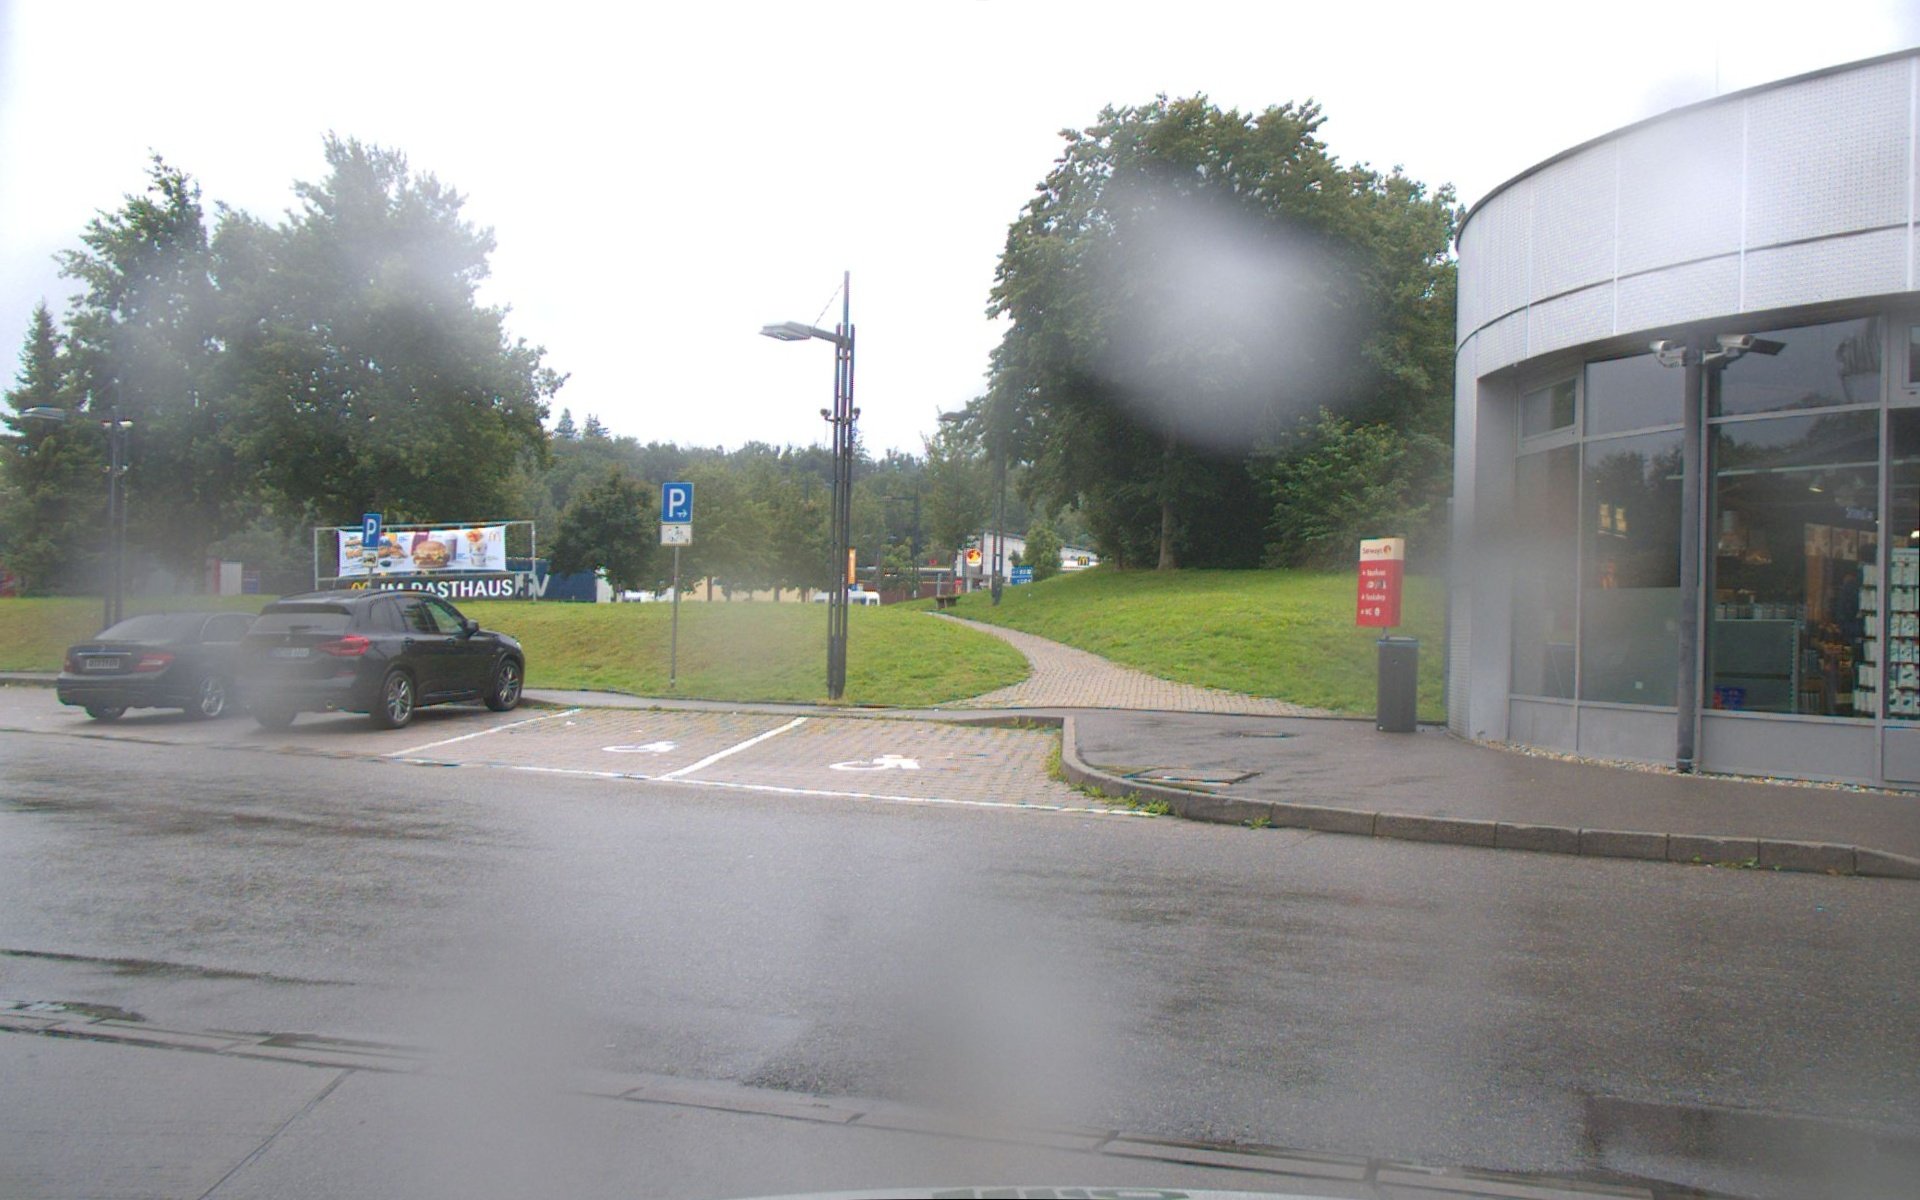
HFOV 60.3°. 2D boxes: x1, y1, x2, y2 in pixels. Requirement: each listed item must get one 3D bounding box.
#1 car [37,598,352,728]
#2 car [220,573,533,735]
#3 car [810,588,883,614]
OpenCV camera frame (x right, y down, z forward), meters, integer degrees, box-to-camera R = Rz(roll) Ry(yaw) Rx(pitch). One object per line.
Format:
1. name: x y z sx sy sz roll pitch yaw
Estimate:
1. car: -10.359 0.784 22.769 1.844 1.592 4.189 0 0 11
2. car: -7.334 0.611 21.329 1.844 1.860 4.417 0 0 11
3. car: -9.155 0.068 133.639 5.310 2.049 2.456 1 0 19
